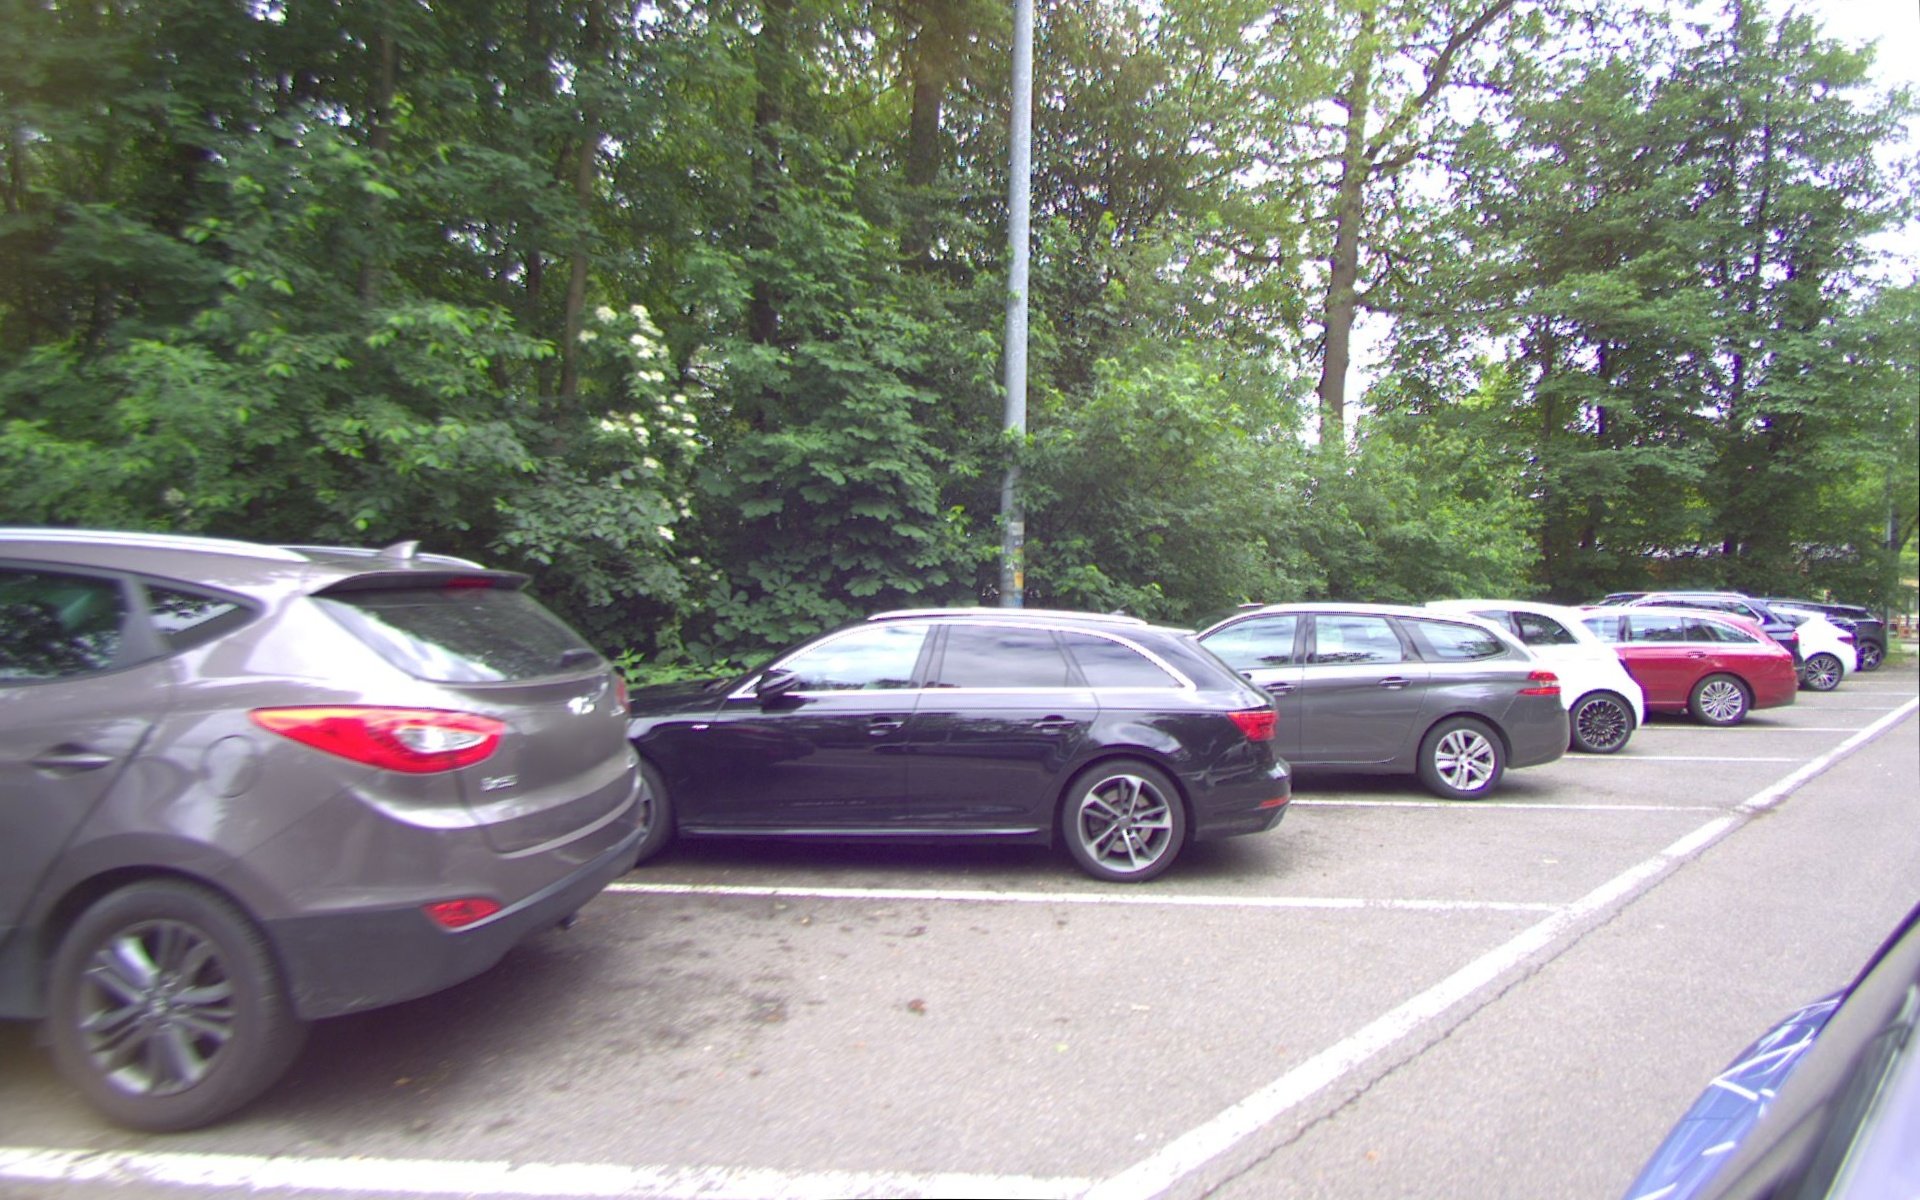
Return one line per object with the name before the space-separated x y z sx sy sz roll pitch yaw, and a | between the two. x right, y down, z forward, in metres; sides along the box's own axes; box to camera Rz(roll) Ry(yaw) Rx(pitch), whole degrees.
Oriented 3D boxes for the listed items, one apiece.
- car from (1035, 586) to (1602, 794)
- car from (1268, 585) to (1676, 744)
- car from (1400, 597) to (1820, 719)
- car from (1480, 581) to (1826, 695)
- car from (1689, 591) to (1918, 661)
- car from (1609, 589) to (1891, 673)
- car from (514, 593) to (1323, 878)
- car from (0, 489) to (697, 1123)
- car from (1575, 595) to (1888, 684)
car | 2.704 0.645 8.485 4.112 1.476 1.803 1 0 5
car | 5.338 0.621 10.980 3.520 1.523 1.732 1 0 7
car | 8.328 0.688 13.383 4.225 1.431 1.923 0 0 9
car | 10.648 0.537 15.849 4.049 1.638 1.838 0 0 8
car | 19.218 0.570 23.179 3.723 1.511 1.698 0 0 3
car | 15.891 0.577 20.548 4.126 1.600 1.957 0 0 2
car | -0.224 0.682 6.218 4.184 1.395 1.964 1 0 2
car | -3.357 0.506 3.799 4.186 1.657 1.963 1 0 5
car | 13.666 0.657 18.170 4.049 1.457 1.866 0 0 8
